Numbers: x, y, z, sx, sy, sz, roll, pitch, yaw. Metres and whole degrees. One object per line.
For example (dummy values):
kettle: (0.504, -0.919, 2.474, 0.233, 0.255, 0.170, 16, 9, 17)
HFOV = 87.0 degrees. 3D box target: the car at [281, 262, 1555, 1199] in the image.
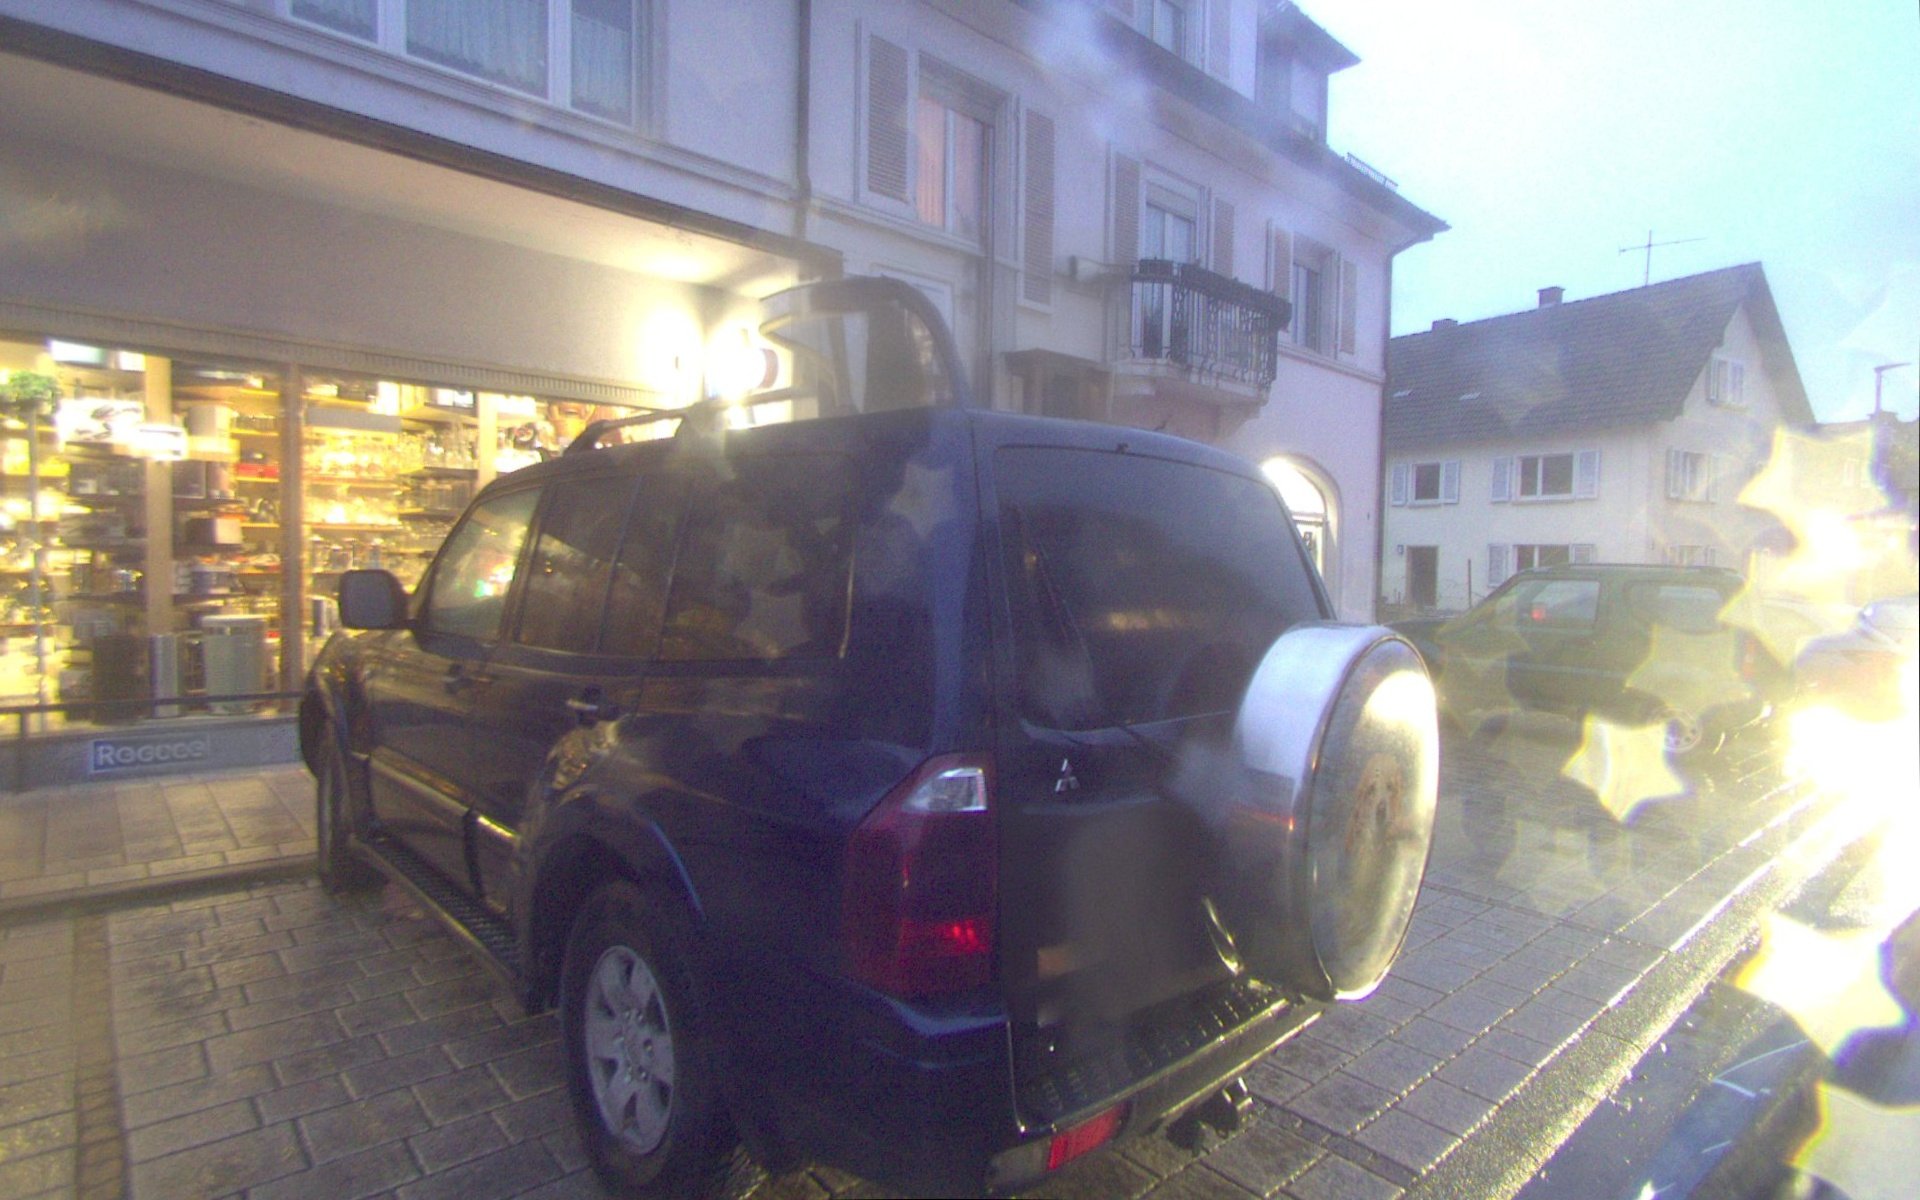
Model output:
car: (-0.774, 0.378, 3.595, 1.913, 1.797, 4.608, 1, 2, -44)

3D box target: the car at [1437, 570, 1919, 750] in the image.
car: (8.172, 0.516, 11.612, 1.865, 1.491, 4.476, 1, 3, -41)

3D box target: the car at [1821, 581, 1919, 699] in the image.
car: (14.858, 0.578, 15.297, 4.586, 1.566, 1.888, 1, 3, -38)

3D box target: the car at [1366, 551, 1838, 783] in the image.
car: (6.046, 0.466, 9.776, 1.688, 1.701, 3.507, 0, 4, -45)
